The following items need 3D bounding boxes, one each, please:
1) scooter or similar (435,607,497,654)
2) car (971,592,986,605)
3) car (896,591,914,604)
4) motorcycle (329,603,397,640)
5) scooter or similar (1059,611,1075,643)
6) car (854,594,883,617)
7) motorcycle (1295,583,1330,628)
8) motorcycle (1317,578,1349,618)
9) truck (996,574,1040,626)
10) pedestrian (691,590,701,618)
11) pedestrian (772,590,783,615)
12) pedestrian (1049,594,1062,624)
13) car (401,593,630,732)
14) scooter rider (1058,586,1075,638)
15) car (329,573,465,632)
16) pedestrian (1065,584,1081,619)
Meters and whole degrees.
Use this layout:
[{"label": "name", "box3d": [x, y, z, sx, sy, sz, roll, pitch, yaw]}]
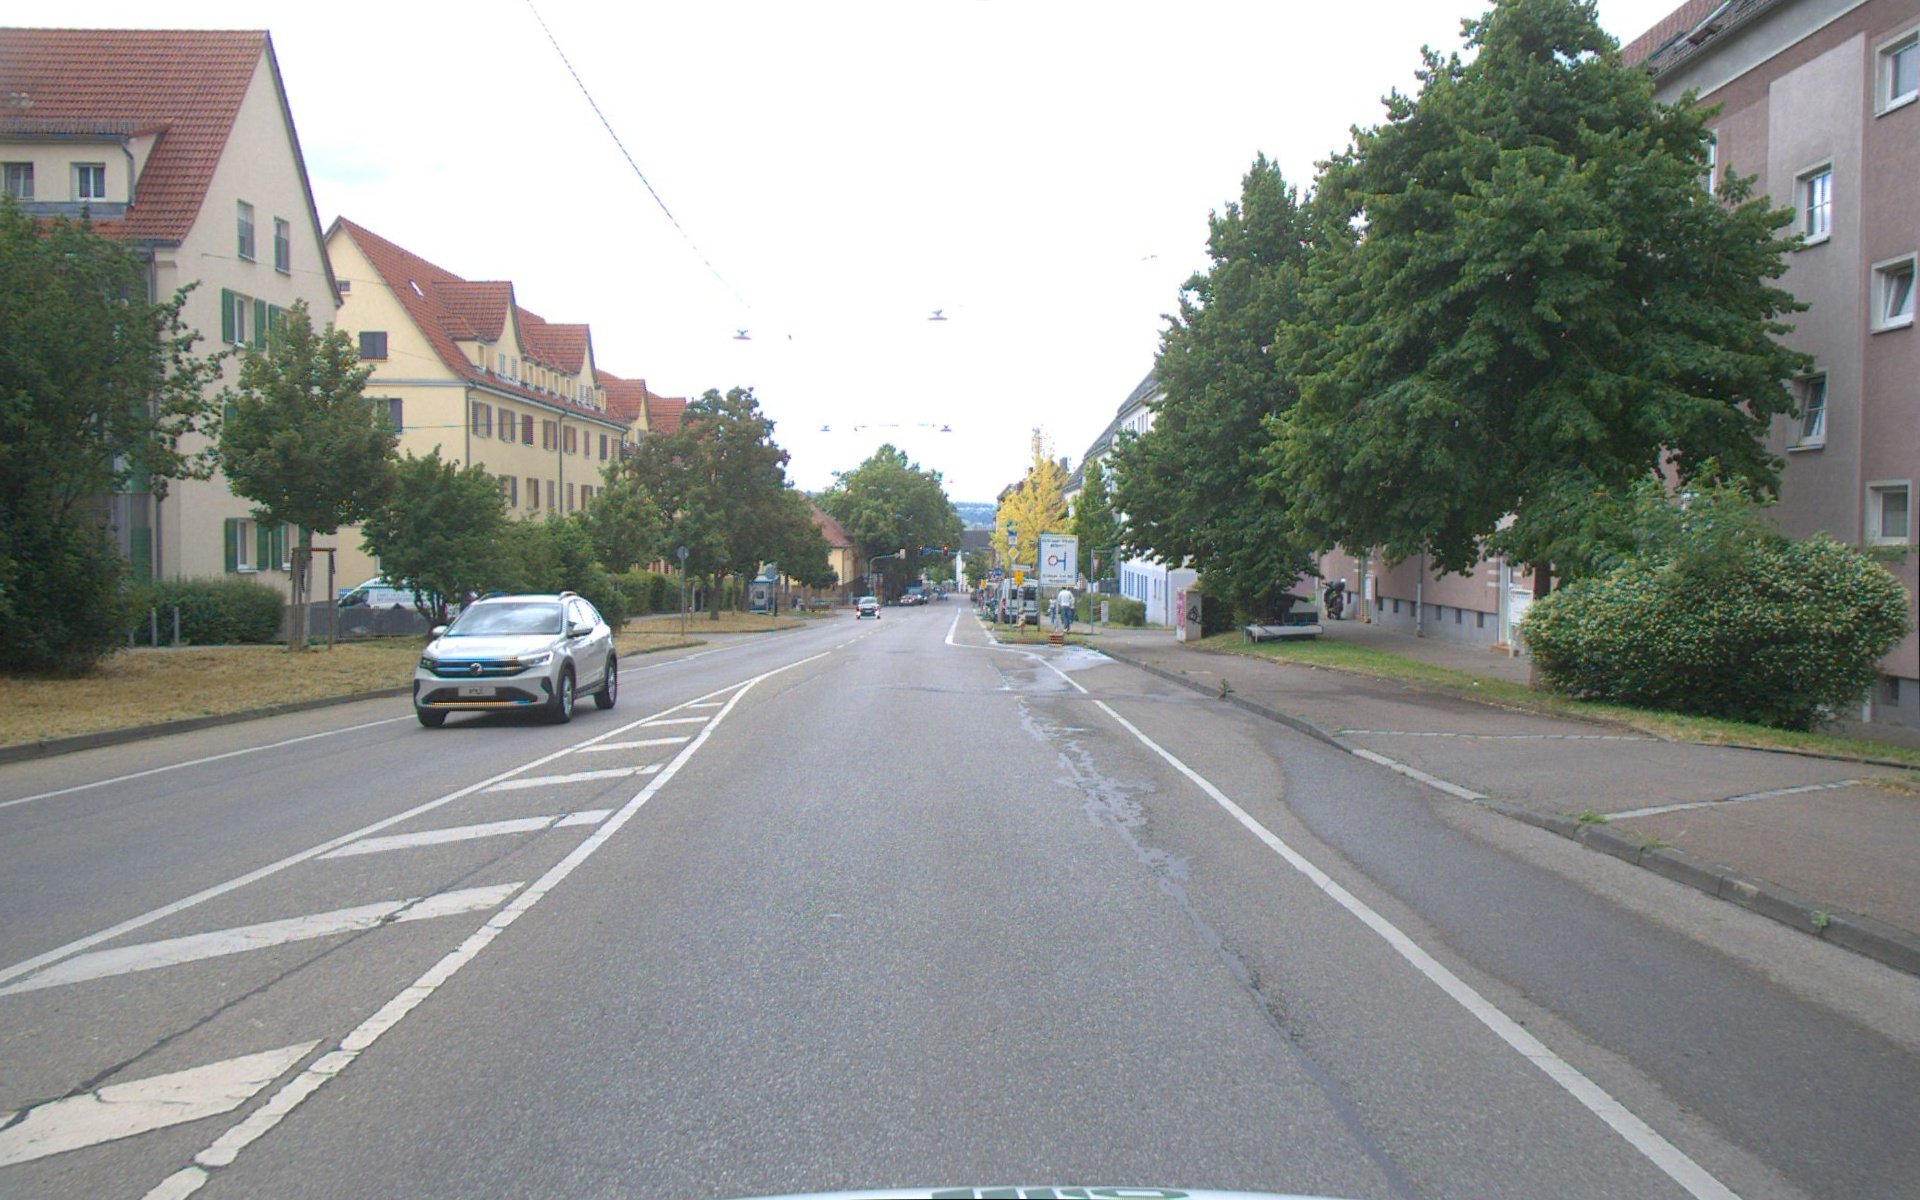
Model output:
[{"label": "scooter or similar", "box3d": [-11.847, 0.734, 39.674, 1.343, 1.105, 0.466, 0, 0, -5]}, {"label": "car", "box3d": [2.840, -0.240, 255.648, 1.953, 1.969, 4.916, 1, 0, -3]}, {"label": "car", "box3d": [-6.546, -0.291, 197.092, 1.719, 1.498, 4.308, -1, 0, 3]}, {"label": "motorcycle", "box3d": [-22.040, 0.772, 61.056, 2.551, 1.301, 1.014, 1, 0, 33]}, {"label": "scooter or similar", "box3d": [4.182, 1.040, 64.803, 0.480, 1.183, 2.074, 1, 0, -1]}, {"label": "car", "box3d": [-6.850, 0.410, 124.050, 1.860, 1.648, 4.362, 1, 0, 1]}, {"label": "motorcycle", "box3d": [12.736, 0.174, 59.800, 0.716, 1.596, 2.550, 1, 0, 1]}, {"label": "motorcycle", "box3d": [12.038, -0.062, 53.380, 0.578, 1.249, 1.967, 1, 0, -1]}, {"label": "truck", "box3d": [3.067, -0.023, 88.176, 2.011, 2.610, 5.689, 1, 0, -1]}, {"label": "pedestrian", "box3d": [-17.384, 0.245, 108.968, 0.503, 1.811, 0.753, 1, 0, 0]}, {"label": "pedestrian", "box3d": [-13.170, 0.192, 119.279, 0.585, 1.757, 0.861, 1, 0, 3]}, {"label": "pedestrian", "box3d": [5.396, 0.527, 93.665, 0.566, 1.673, 0.559, 0, -1, -14]}, {"label": "car", "box3d": [-5.357, 0.684, 20.446, 1.765, 1.489, 4.029, -1, 0, -1]}, {"label": "scooter rider", "box3d": [4.164, 0.461, 64.768, 0.612, 2.049, 0.757, 1, 0, -1]}, {"label": "car", "box3d": [-21.974, 0.092, 64.729, 4.621, 2.293, 1.995, 0, 0, 0]}, {"label": "pedestrian", "box3d": [6.360, 0.083, 93.155, 0.658, 1.920, 0.764, 0, -1, -12]}]
